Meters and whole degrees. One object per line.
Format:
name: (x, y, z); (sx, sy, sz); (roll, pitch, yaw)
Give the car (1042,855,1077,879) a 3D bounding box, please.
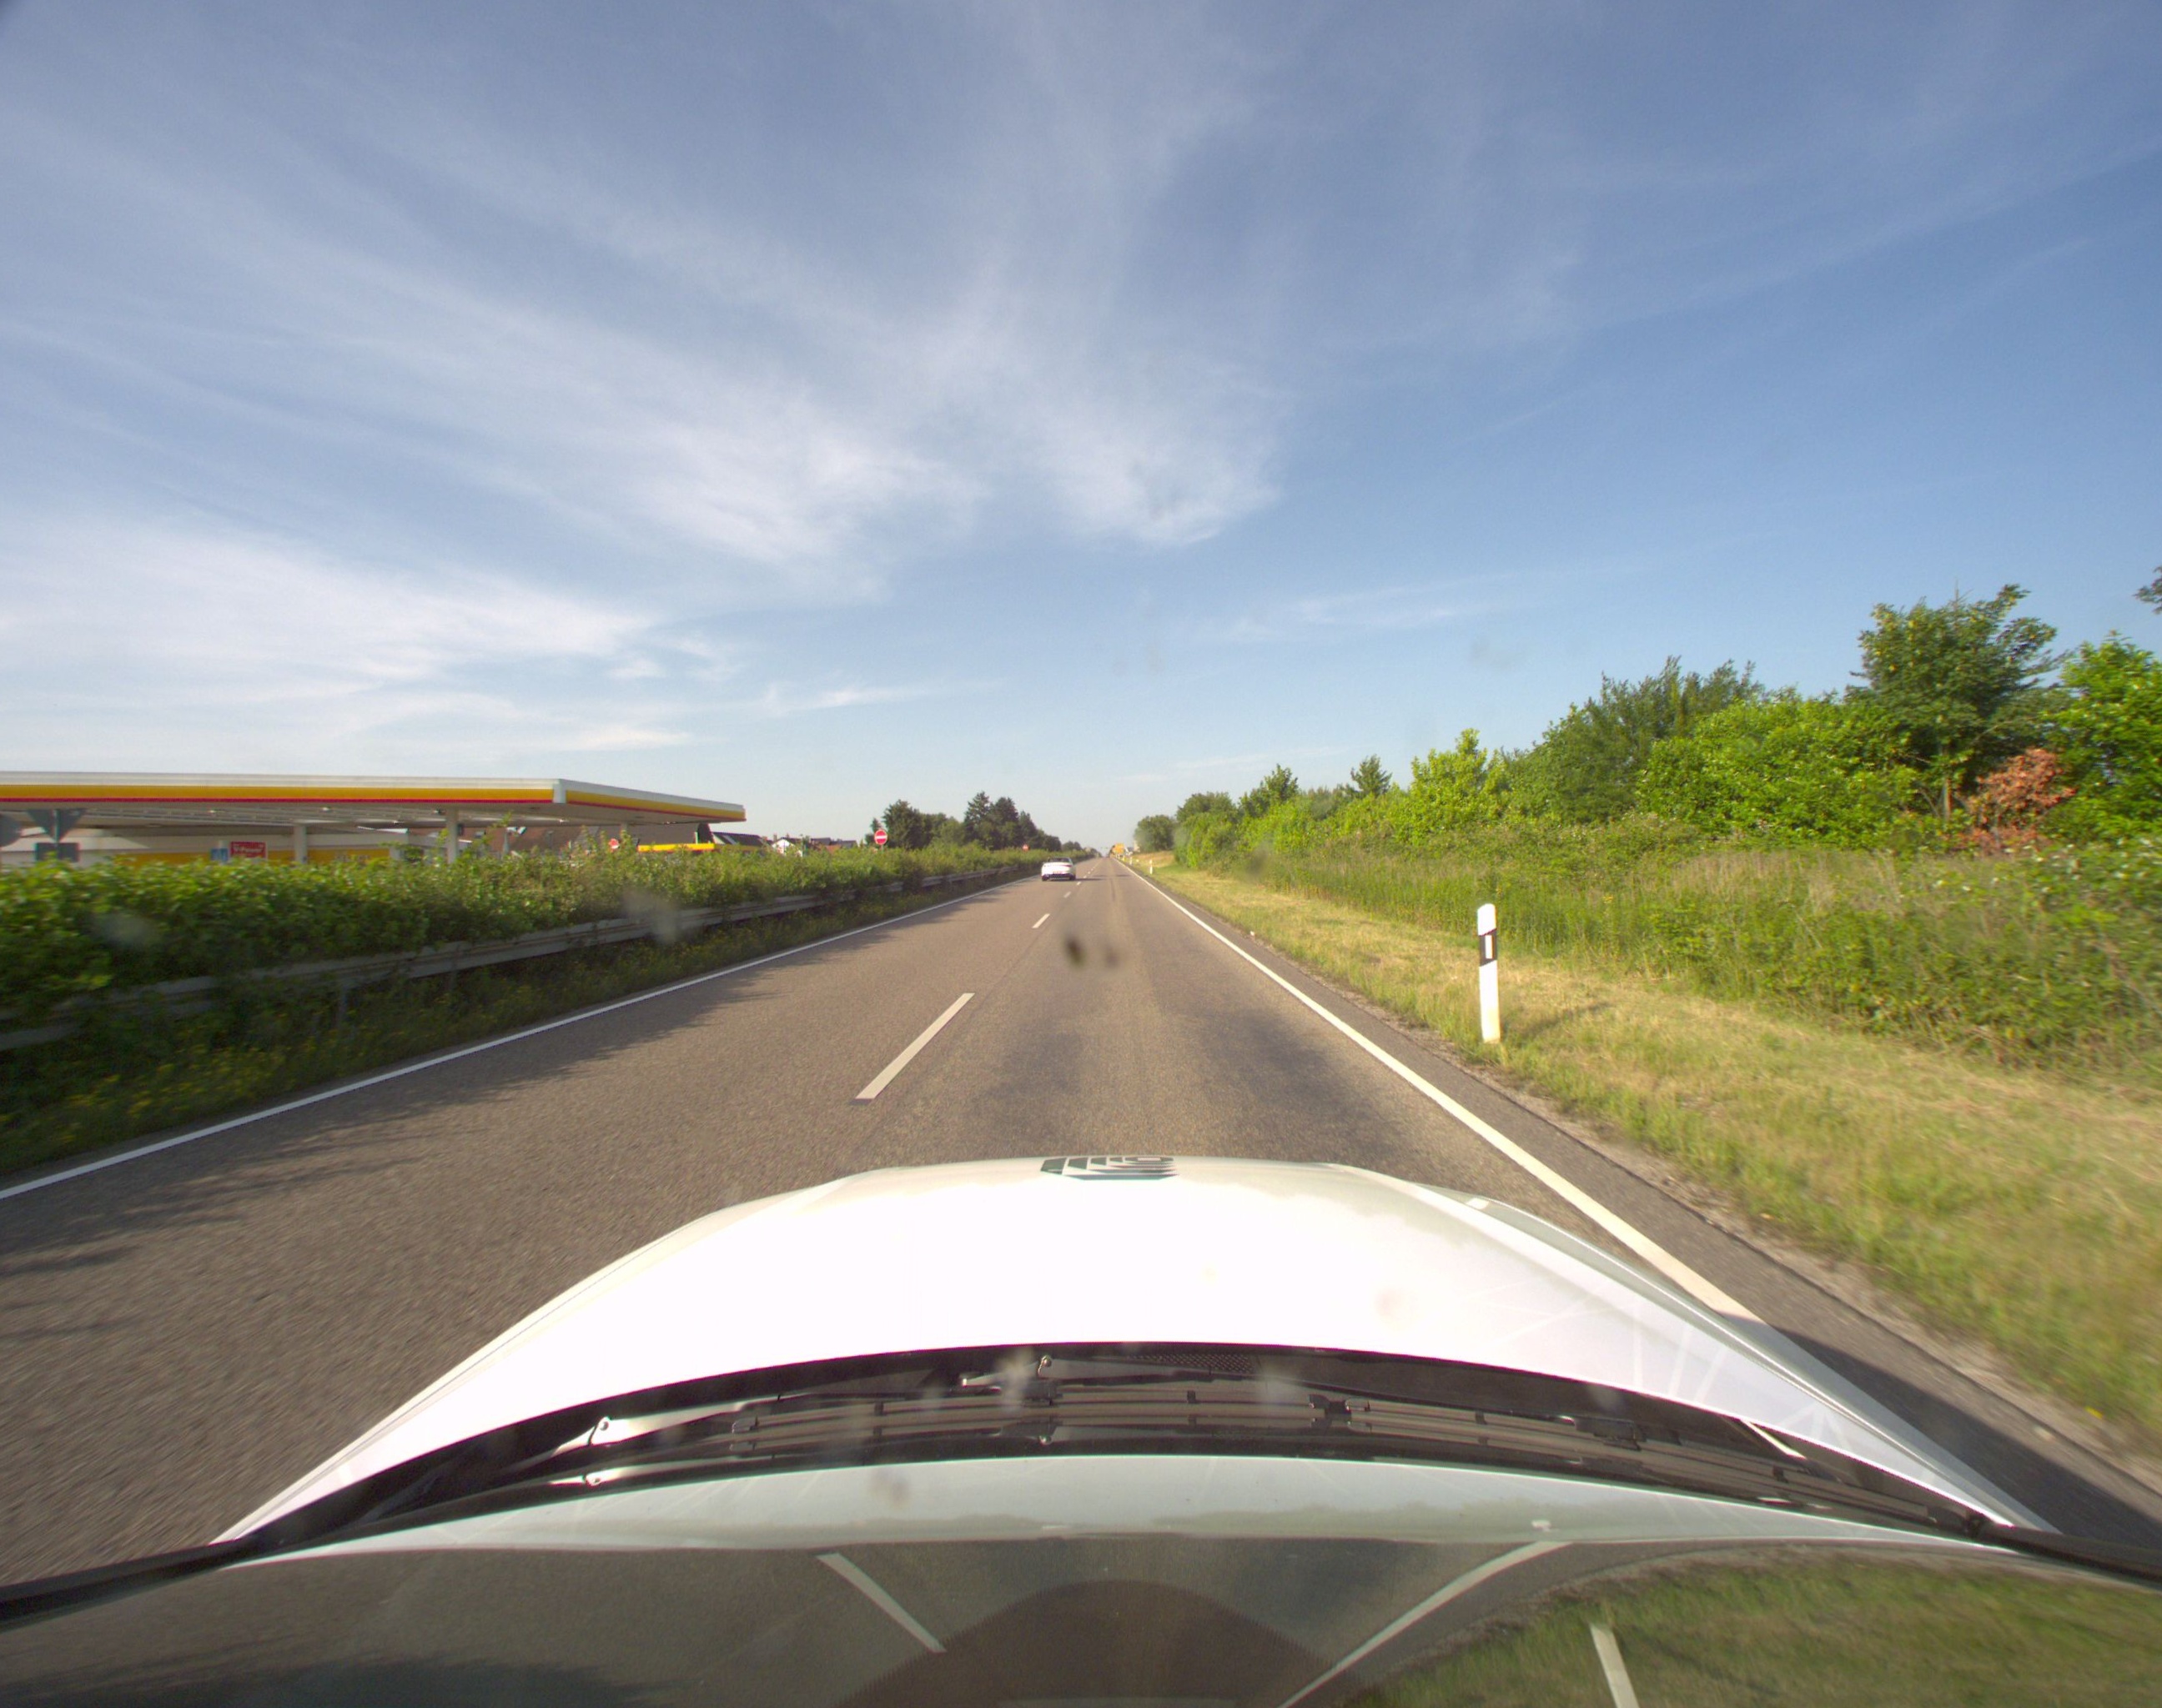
car: (-1.215, 0.755, 48.107); (1.764, 1.337, 4.952); (0, 0, 2)
